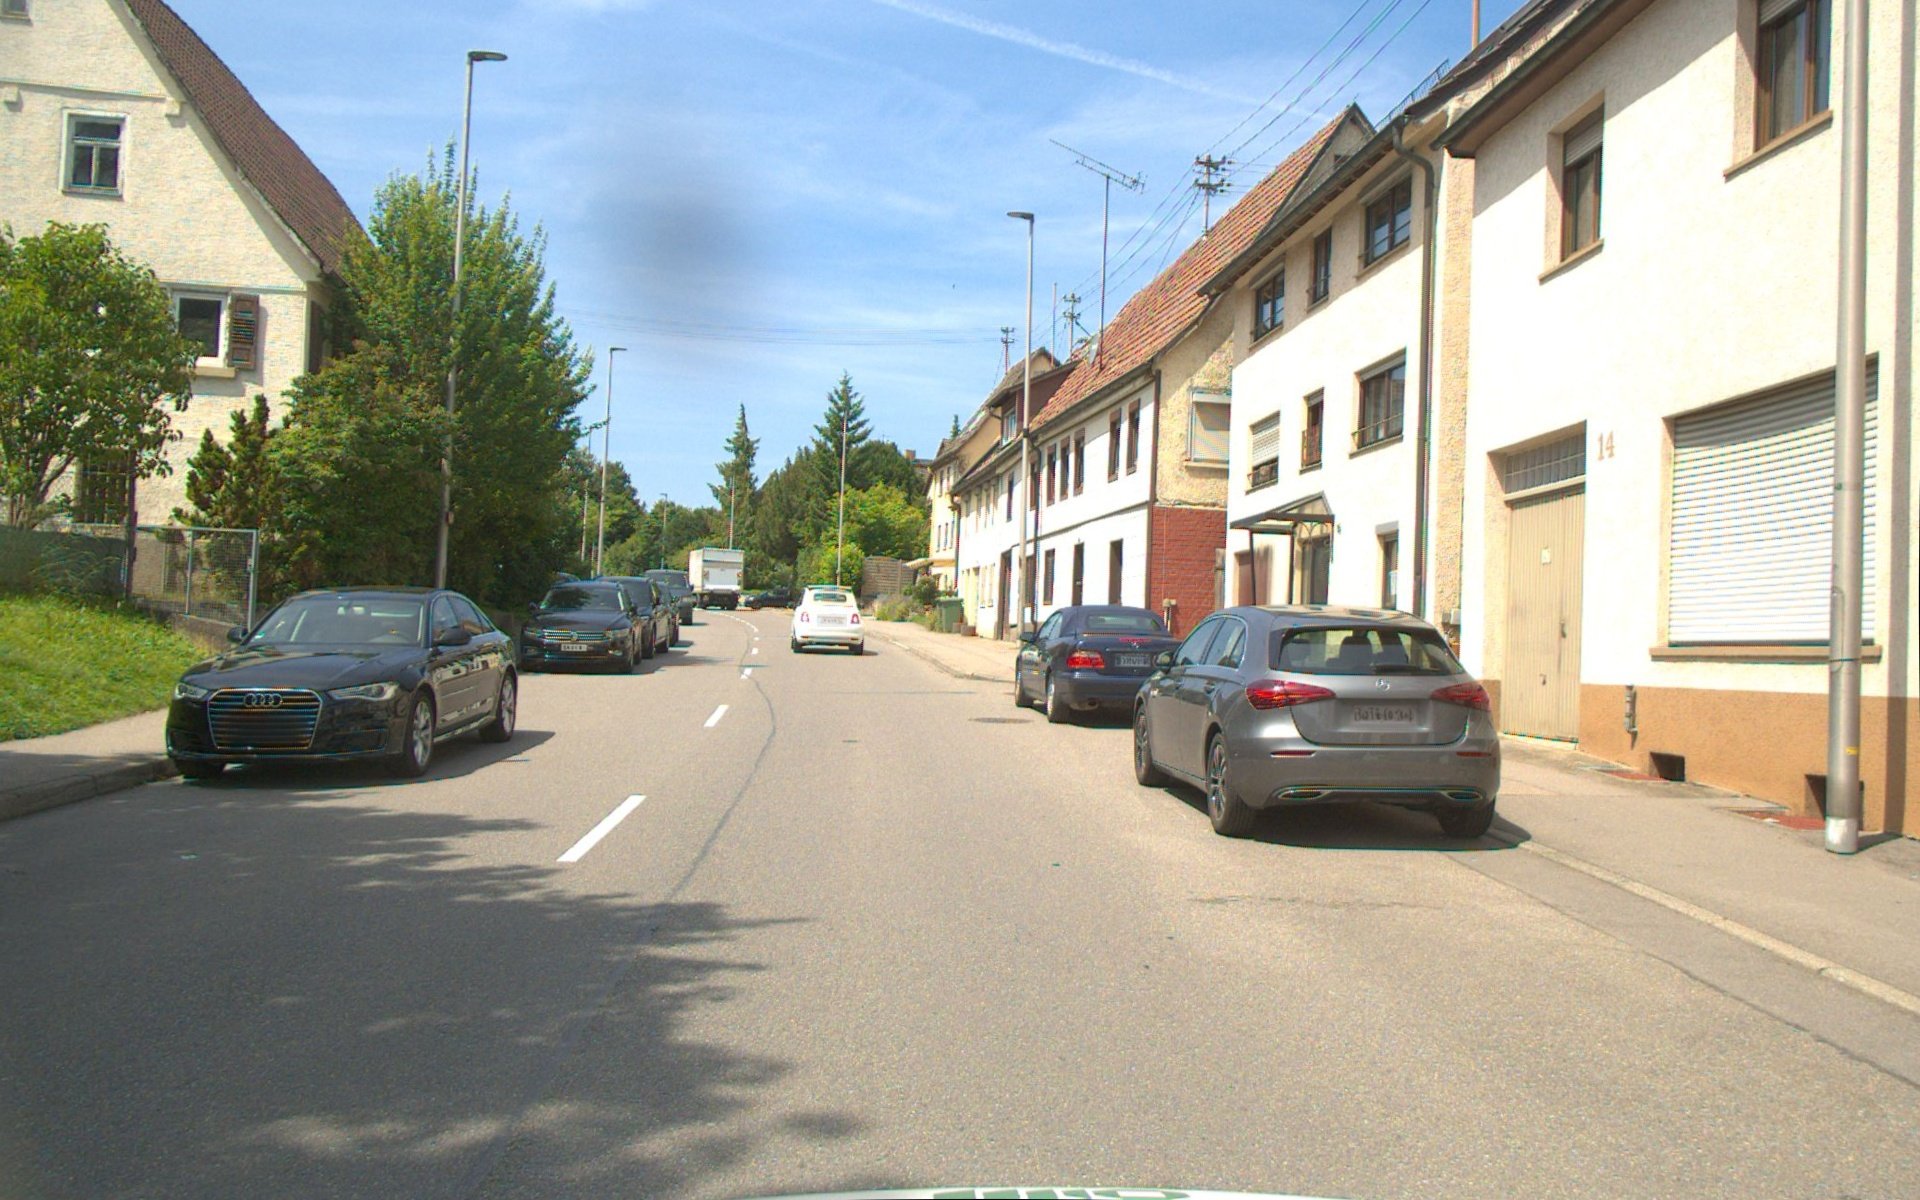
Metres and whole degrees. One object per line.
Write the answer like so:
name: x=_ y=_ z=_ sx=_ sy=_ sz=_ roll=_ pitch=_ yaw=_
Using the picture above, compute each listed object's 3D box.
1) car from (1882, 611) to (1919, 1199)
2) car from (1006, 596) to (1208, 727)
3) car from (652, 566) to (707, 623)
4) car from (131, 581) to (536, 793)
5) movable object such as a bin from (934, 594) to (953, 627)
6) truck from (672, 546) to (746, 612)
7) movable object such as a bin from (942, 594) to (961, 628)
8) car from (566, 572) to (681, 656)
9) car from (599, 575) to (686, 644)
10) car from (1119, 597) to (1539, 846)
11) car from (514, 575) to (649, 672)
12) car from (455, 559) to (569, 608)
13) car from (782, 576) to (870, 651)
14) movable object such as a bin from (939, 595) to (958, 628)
car: x=2.751 y=0.755 z=1.190 sx=1.760 sy=1.449 sz=4.289 roll=1 pitch=0 yaw=0
car: x=1.697 y=0.681 z=20.477 sx=1.634 sy=1.376 sz=4.181 roll=2 pitch=0 yaw=-7
car: x=-10.429 y=-0.203 z=61.287 sx=1.857 sy=1.971 sz=4.972 roll=1 pitch=0 yaw=-11
car: x=-5.085 y=0.591 z=14.231 sx=1.768 sy=1.448 sz=4.926 roll=1 pitch=1 yaw=-2
movable object such as a bin: x=-0.535 y=0.339 z=54.055 sx=0.536 sy=1.051 sz=0.550 roll=-1 pitch=1 yaw=-8
truck: x=-15.748 y=-1.262 z=103.405 sx=3.023 sy=3.840 sz=7.821 roll=2 pitch=-1 yaw=-20
movable object such as a bin: x=-0.276 y=0.358 z=52.297 sx=0.536 sy=1.051 sz=0.550 roll=-1 pitch=1 yaw=-8
car: x=-6.810 y=0.233 z=33.886 sx=1.720 sy=1.547 sz=4.297 roll=2 pitch=1 yaw=-4
car: x=-7.563 y=0.188 z=39.732 sx=1.785 sy=1.499 sz=4.767 roll=2 pitch=1 yaw=-8
car: x=2.392 y=0.715 z=11.934 sx=1.758 sy=1.427 sz=4.408 roll=1 pitch=0 yaw=-4
car: x=-6.440 y=0.356 z=28.579 sx=1.754 sy=1.489 sz=4.705 roll=1 pitch=0 yaw=-7
car: x=-17.627 y=-0.638 z=65.131 sx=4.162 sy=1.429 sz=1.813 roll=7 pitch=-1 yaw=-17
car: x=-3.191 y=0.298 z=38.743 sx=1.693 sy=1.587 sz=3.991 roll=2 pitch=0 yaw=-9
movable object such as a bin: x=-0.373 y=0.359 z=52.914 sx=0.536 sy=1.051 sz=0.550 roll=-1 pitch=1 yaw=-8
